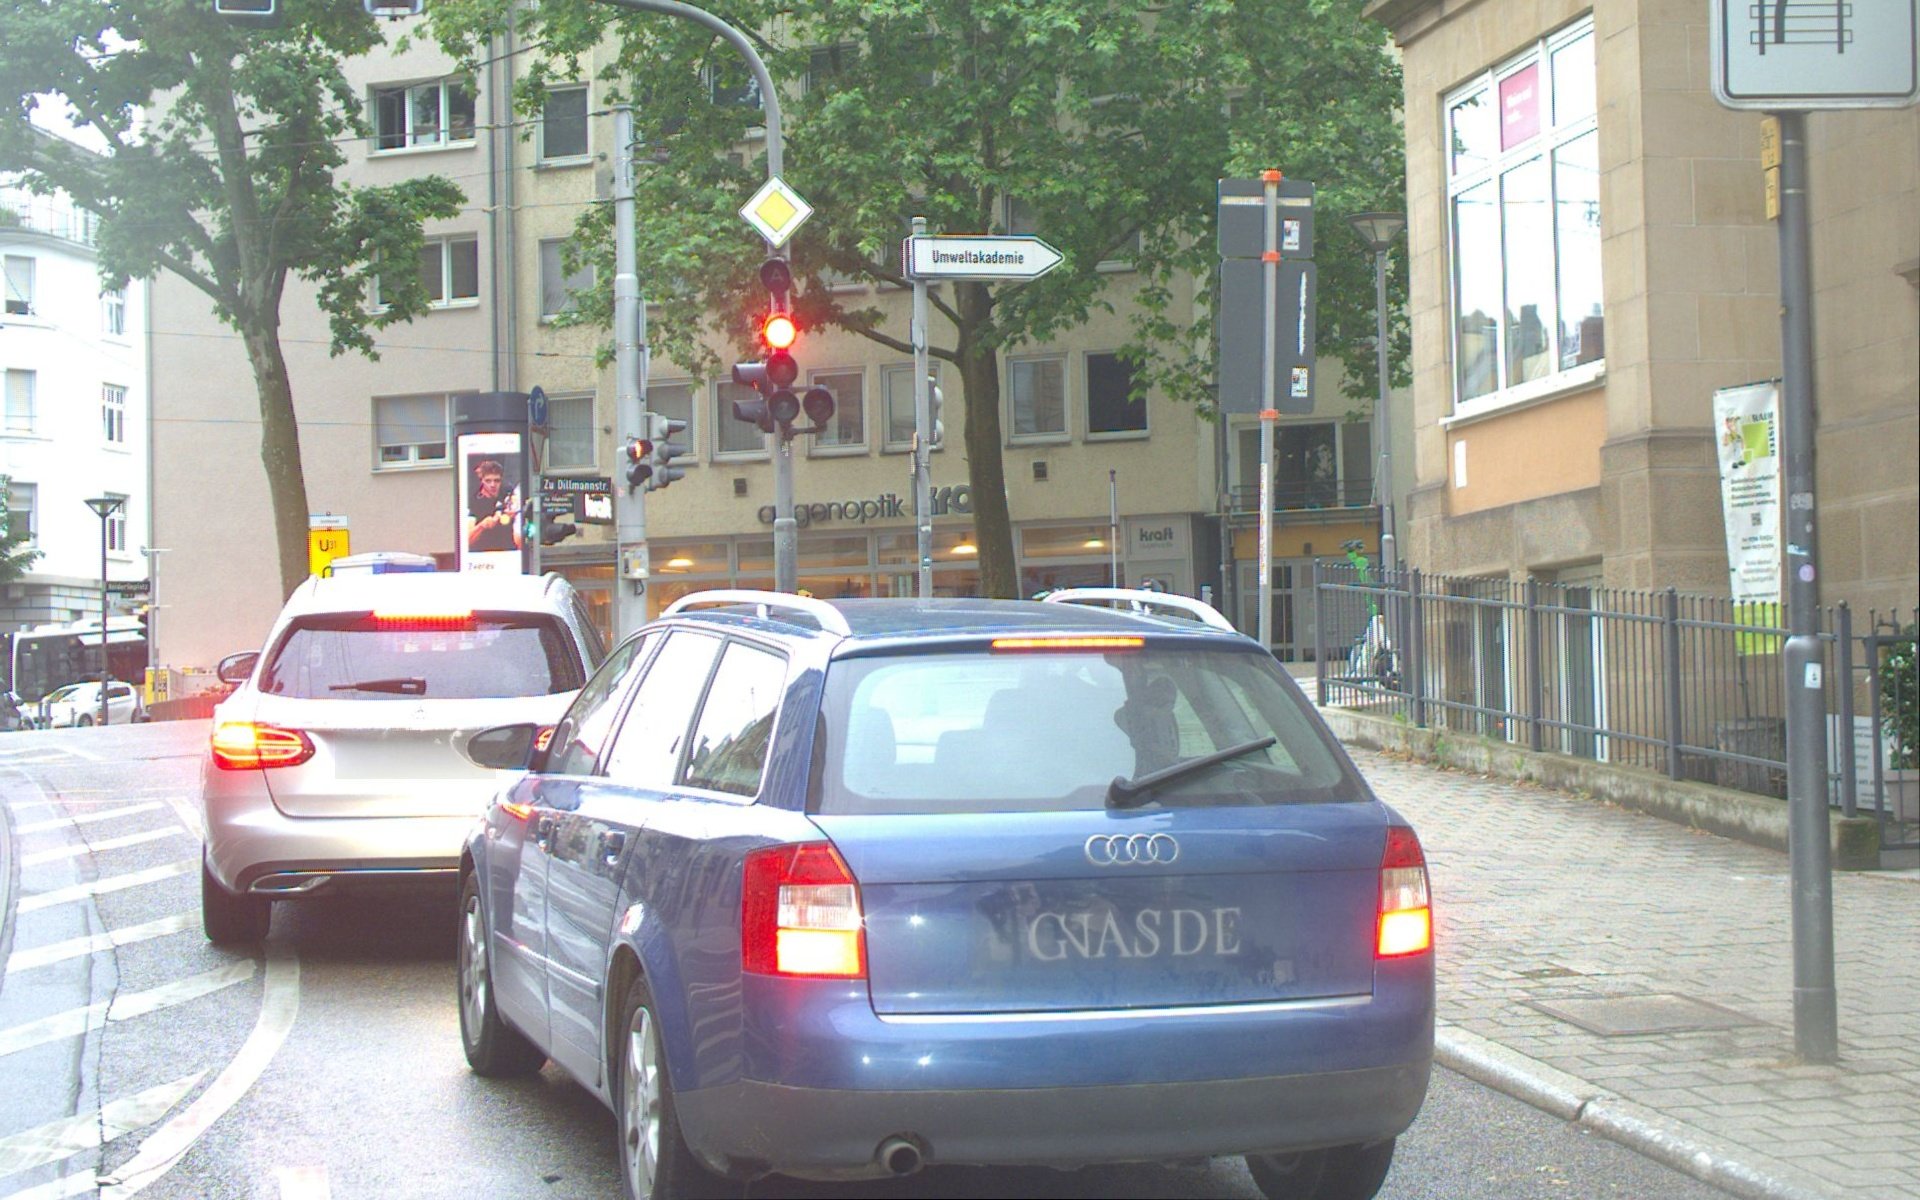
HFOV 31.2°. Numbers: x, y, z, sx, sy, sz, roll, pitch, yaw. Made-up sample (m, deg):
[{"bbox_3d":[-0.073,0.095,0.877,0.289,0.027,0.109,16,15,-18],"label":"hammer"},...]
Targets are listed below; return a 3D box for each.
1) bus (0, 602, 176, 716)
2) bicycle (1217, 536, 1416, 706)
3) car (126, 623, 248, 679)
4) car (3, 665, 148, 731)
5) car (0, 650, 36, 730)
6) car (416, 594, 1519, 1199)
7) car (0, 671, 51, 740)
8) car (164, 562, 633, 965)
[{"bbox_3d":[-25.261,1.592,96.075,2.856,2.851,8.728,-1,1,14],"label":"bus"},{"bbox_3d":[2.620,0.148,25.275,1.300,1.169,0.526,-3,1,-12],"label":"bicycle"},{"bbox_3d":[-23.337,1.535,103.933,1.796,1.505,3.997,-1,1,17],"label":"car"},{"bbox_3d":[-23.088,2.549,89.890,1.796,1.505,3.997,-1,1,17],"label":"car"},{"bbox_3d":[-20.067,1.872,69.313,1.794,1.505,4.000,-3,1,-1],"label":"car"},{"bbox_3d":[-0.252,0.722,8.754,1.710,1.410,4.037,0,1,-17],"label":"car"},{"bbox_3d":[-24.479,2.664,85.377,1.796,1.609,3.997,-1,1,17],"label":"car"},{"bbox_3d":[-2.305,0.580,14.451,1.710,1.451,3.554,0,1,-8],"label":"car"}]
